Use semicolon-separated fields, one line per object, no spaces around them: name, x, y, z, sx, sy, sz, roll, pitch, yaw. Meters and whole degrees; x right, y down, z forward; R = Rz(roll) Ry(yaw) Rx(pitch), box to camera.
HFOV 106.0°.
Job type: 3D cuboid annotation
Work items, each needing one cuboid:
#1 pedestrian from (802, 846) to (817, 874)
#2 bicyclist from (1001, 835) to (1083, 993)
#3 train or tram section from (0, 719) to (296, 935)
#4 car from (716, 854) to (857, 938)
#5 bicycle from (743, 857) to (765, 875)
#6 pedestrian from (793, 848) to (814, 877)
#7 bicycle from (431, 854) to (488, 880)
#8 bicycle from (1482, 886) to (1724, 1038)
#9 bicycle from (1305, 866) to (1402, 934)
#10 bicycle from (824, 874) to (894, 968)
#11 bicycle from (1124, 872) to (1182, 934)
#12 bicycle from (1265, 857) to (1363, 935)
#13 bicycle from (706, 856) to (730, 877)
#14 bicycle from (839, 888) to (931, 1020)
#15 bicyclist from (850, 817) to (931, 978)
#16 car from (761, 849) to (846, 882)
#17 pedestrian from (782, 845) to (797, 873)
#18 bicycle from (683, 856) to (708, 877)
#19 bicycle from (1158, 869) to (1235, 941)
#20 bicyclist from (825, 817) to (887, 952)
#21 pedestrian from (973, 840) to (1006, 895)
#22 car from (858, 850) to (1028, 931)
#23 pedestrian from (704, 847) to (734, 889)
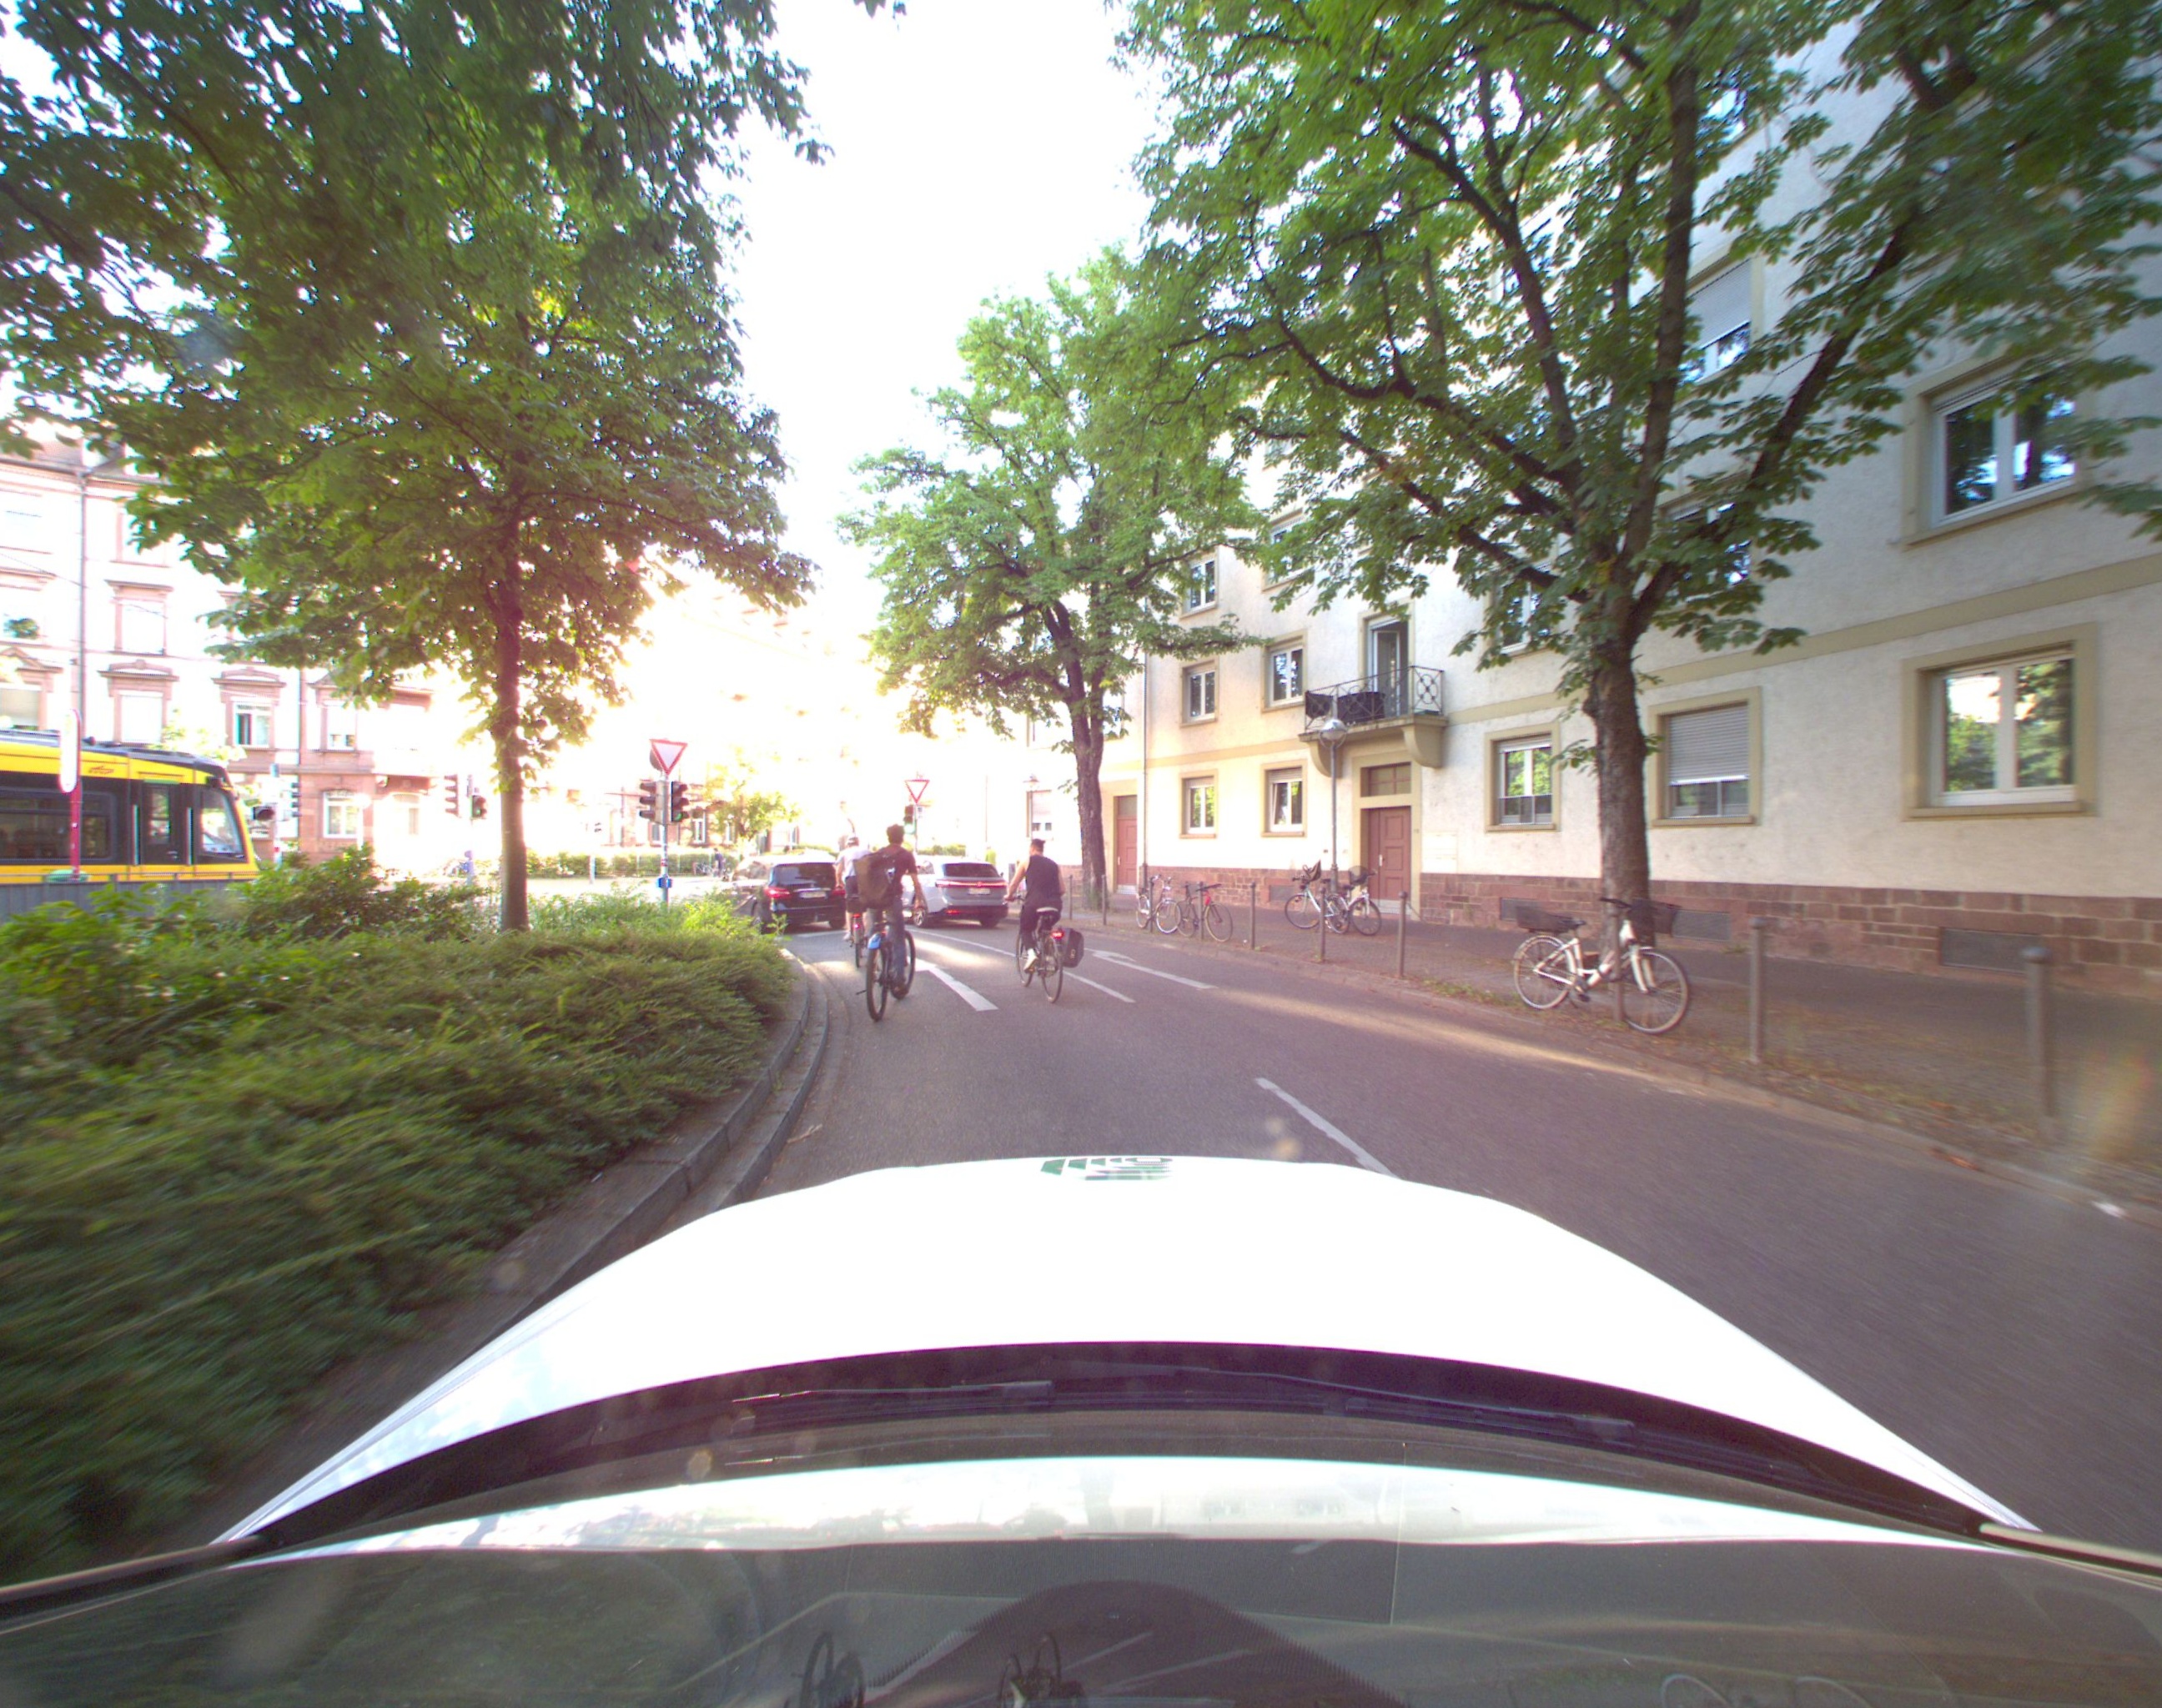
pedestrian;-16.812;0.375;50.452;0.655;1.715;0.640;0;0;32
bicyclist;-0.460;0.630;9.142;0.688;1.656;0.984;-1;0;-16
train or tram section;-20.074;-0.479;12.244;2.768;3.620;11.858;0;0;19
car;-6.420;0.811;17.516;1.804;1.542;3.817;-2;1;-37
bicycle;-19.318;0.695;48.105;0.438;1.038;1.240;1;0;24
pedestrian;-16.783;0.502;49.195;0.703;1.664;0.904;4;2;36
bicycle;-27.786;0.595;36.424;1.975;1.107;0.438;2;-1;-37
bicycle;4.603;0.883;7.381;0.514;1.095;1.962;-1;0;-17
bicycle;4.847;0.779;14.640;0.669;1.107;1.956;1;0;-16
bicycle;-3.321;0.920;12.025;0.813;1.185;2.212;0;0;-20
bicycle;1.375;0.920;15.856;0.482;1.063;1.625;-2;2;-19
bicycle;4.135;0.707;14.648;0.719;1.277;1.955;-1;0;-18
bicycle;-20.371;0.696;45.704;0.438;1.107;1.241;1;0;25
bicycle;-1.953;0.947;8.365;0.716;1.107;1.961;1;0;-8
bicyclist;-1.960;0.428;8.477;0.706;1.573;0.954;1;0;-8
car;-14.815;0.581;43.733;1.926;1.650;4.432;0;0;20
pedestrian;-17.857;0.328;49.922;0.514;1.715;0.640;0;0;32
bicycle;-21.010;0.657;44.421;0.438;1.107;1.241;1;1;25
bicycle;1.997;0.855;14.329;0.528;1.107;1.728;-3;1;-21
bicyclist;-3.367;0.435;12.132;0.797;1.913;0.938;1;0;-20
pedestrian;-2.986;0.436;26.506;0.648;1.727;0.878;-3;1;-36
car;-3.269;0.753;18.578;1.985;1.585;4.425;3;-1;-37
pedestrian;-14.542;0.559;32.720;0.902;1.635;0.722;2;0;-12
